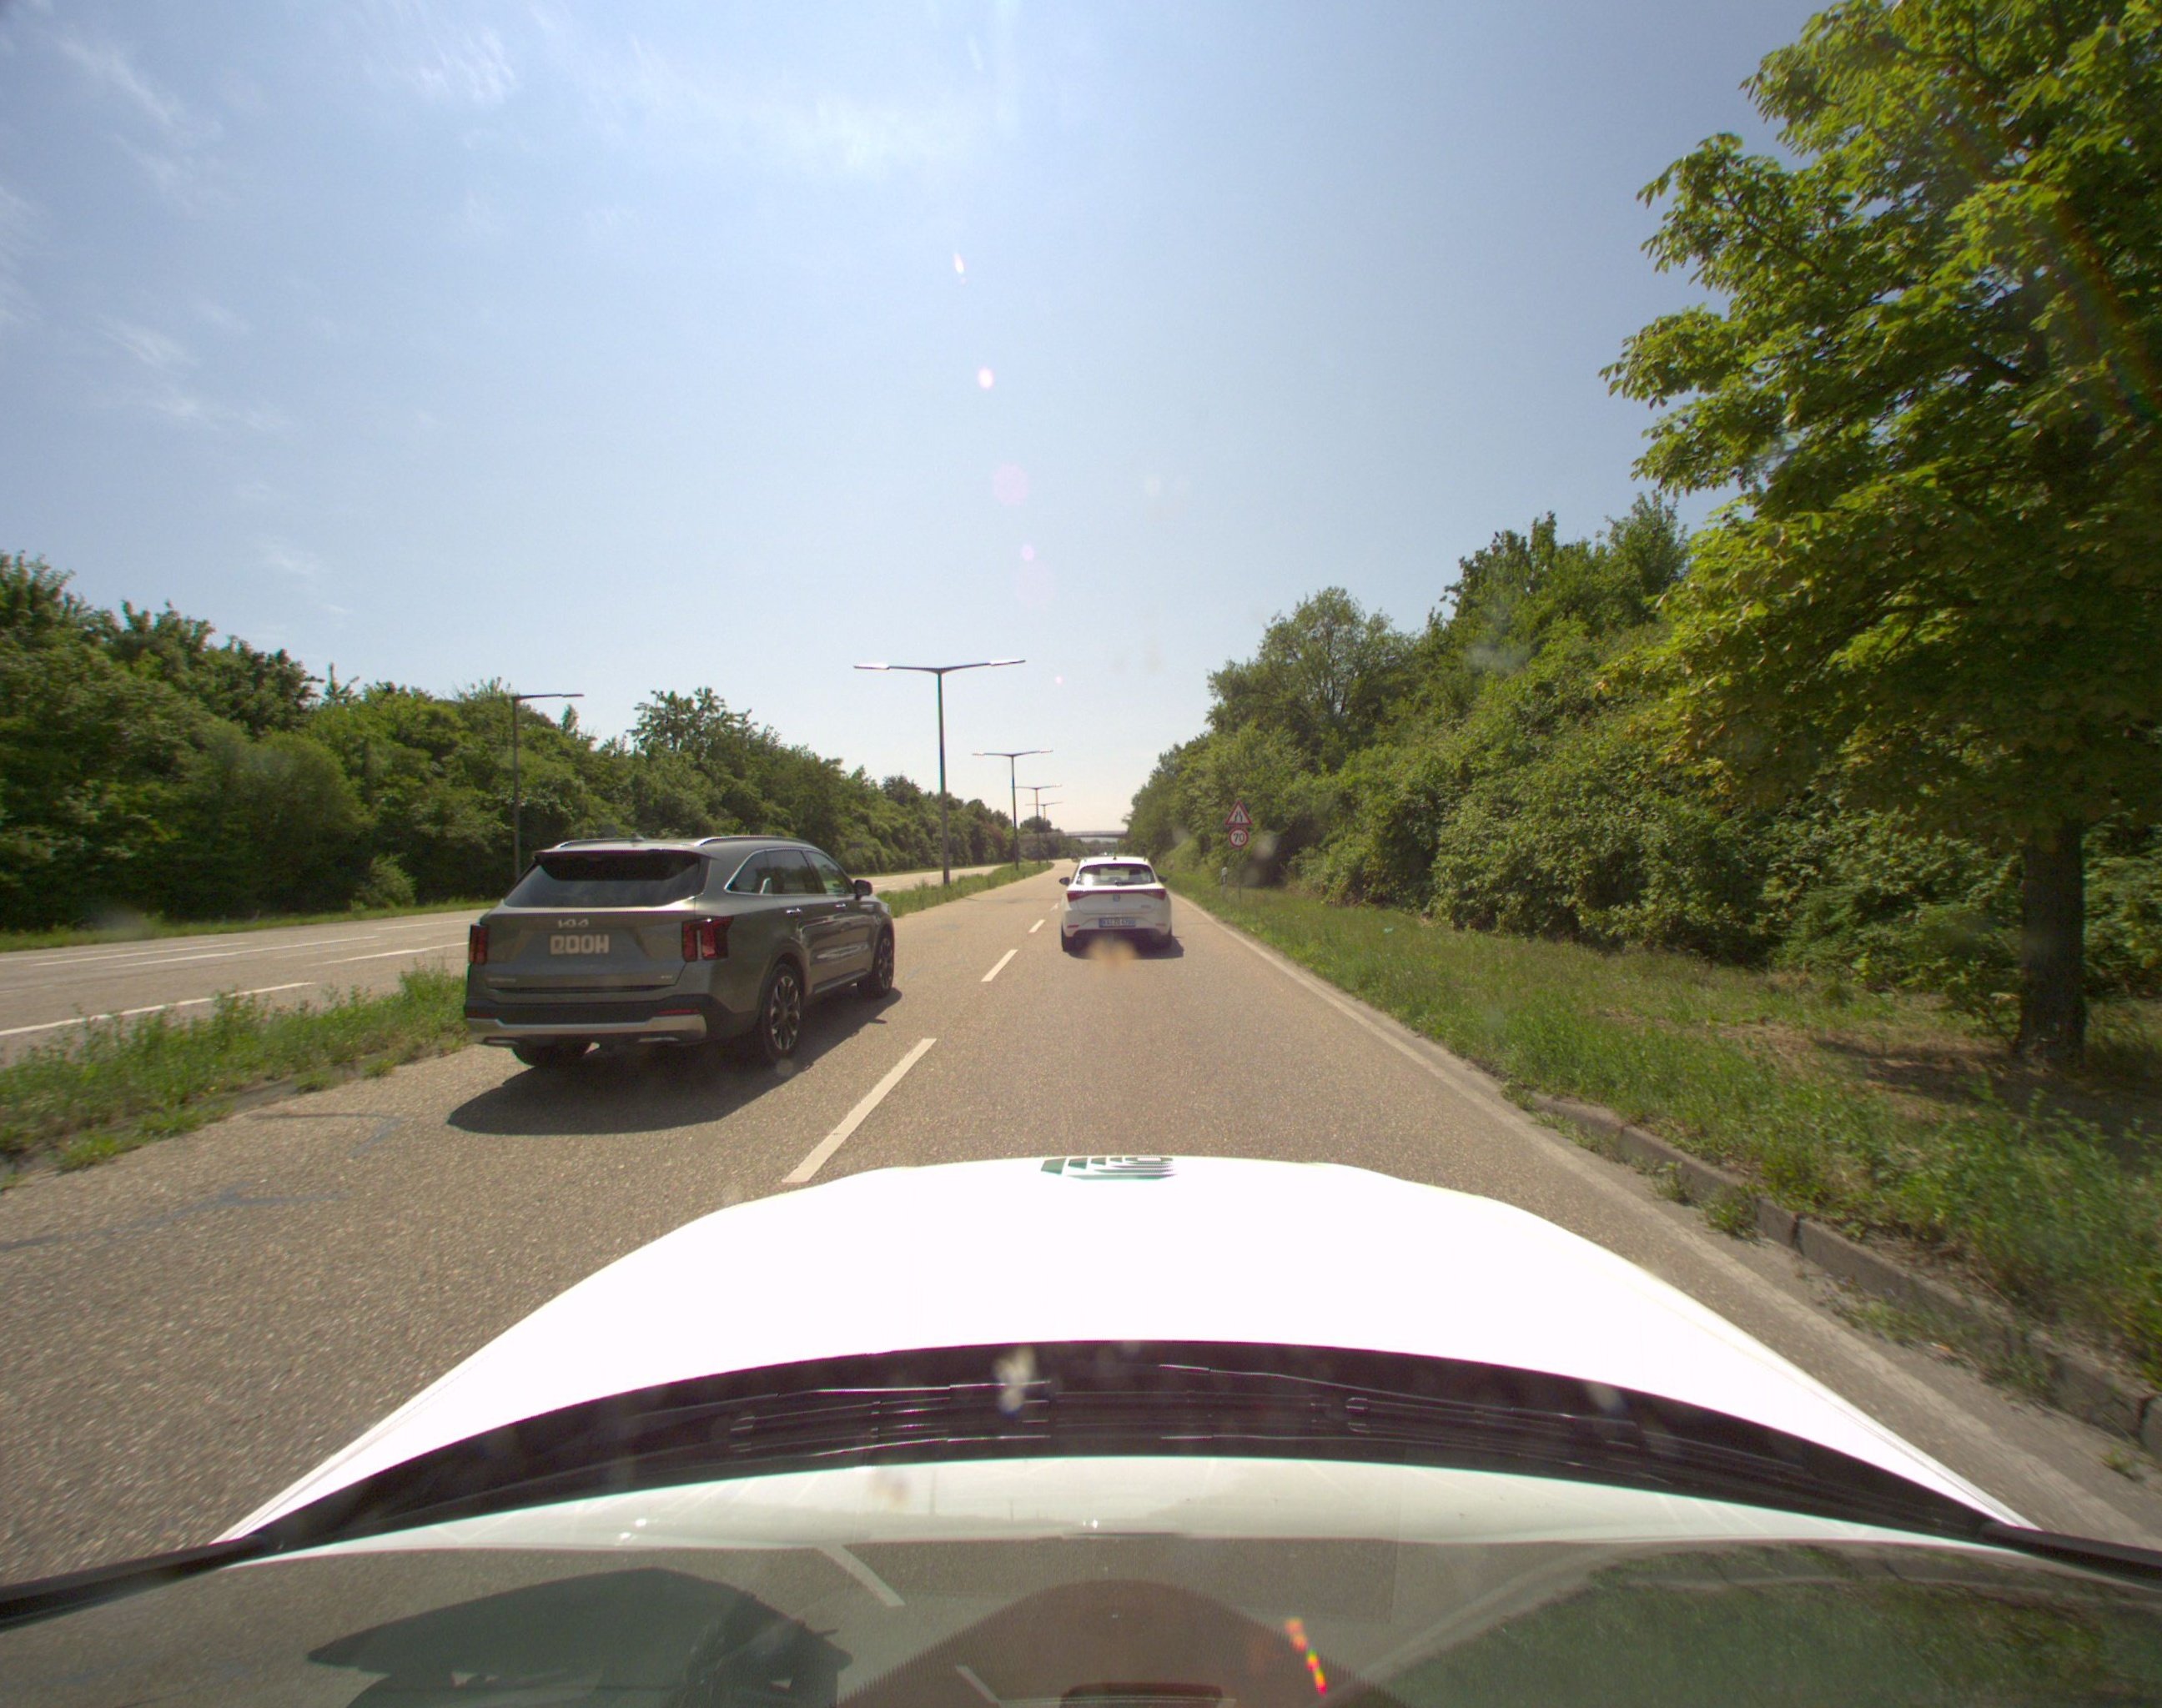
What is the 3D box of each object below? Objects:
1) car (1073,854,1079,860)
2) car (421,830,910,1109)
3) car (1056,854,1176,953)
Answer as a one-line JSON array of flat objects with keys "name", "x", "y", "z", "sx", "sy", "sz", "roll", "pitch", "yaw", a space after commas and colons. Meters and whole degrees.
[{"name": "car", "x": -1.603, "y": 0.850, "z": 251.804, "sx": 1.850, "sy": 1.709, "sz": 3.996, "roll": -2, "pitch": 0, "yaw": -3}, {"name": "car", "x": -3.041, "y": 0.710, "z": 7.308, "sx": 1.797, "sy": 1.662, "sz": 4.647, "roll": -2, "pitch": 0, "yaw": 2}, {"name": "car", "x": 0.587, "y": 0.739, "z": 13.675, "sx": 1.727, "sy": 1.428, "sz": 3.696, "roll": 0, "pitch": -1, "yaw": 2}]
